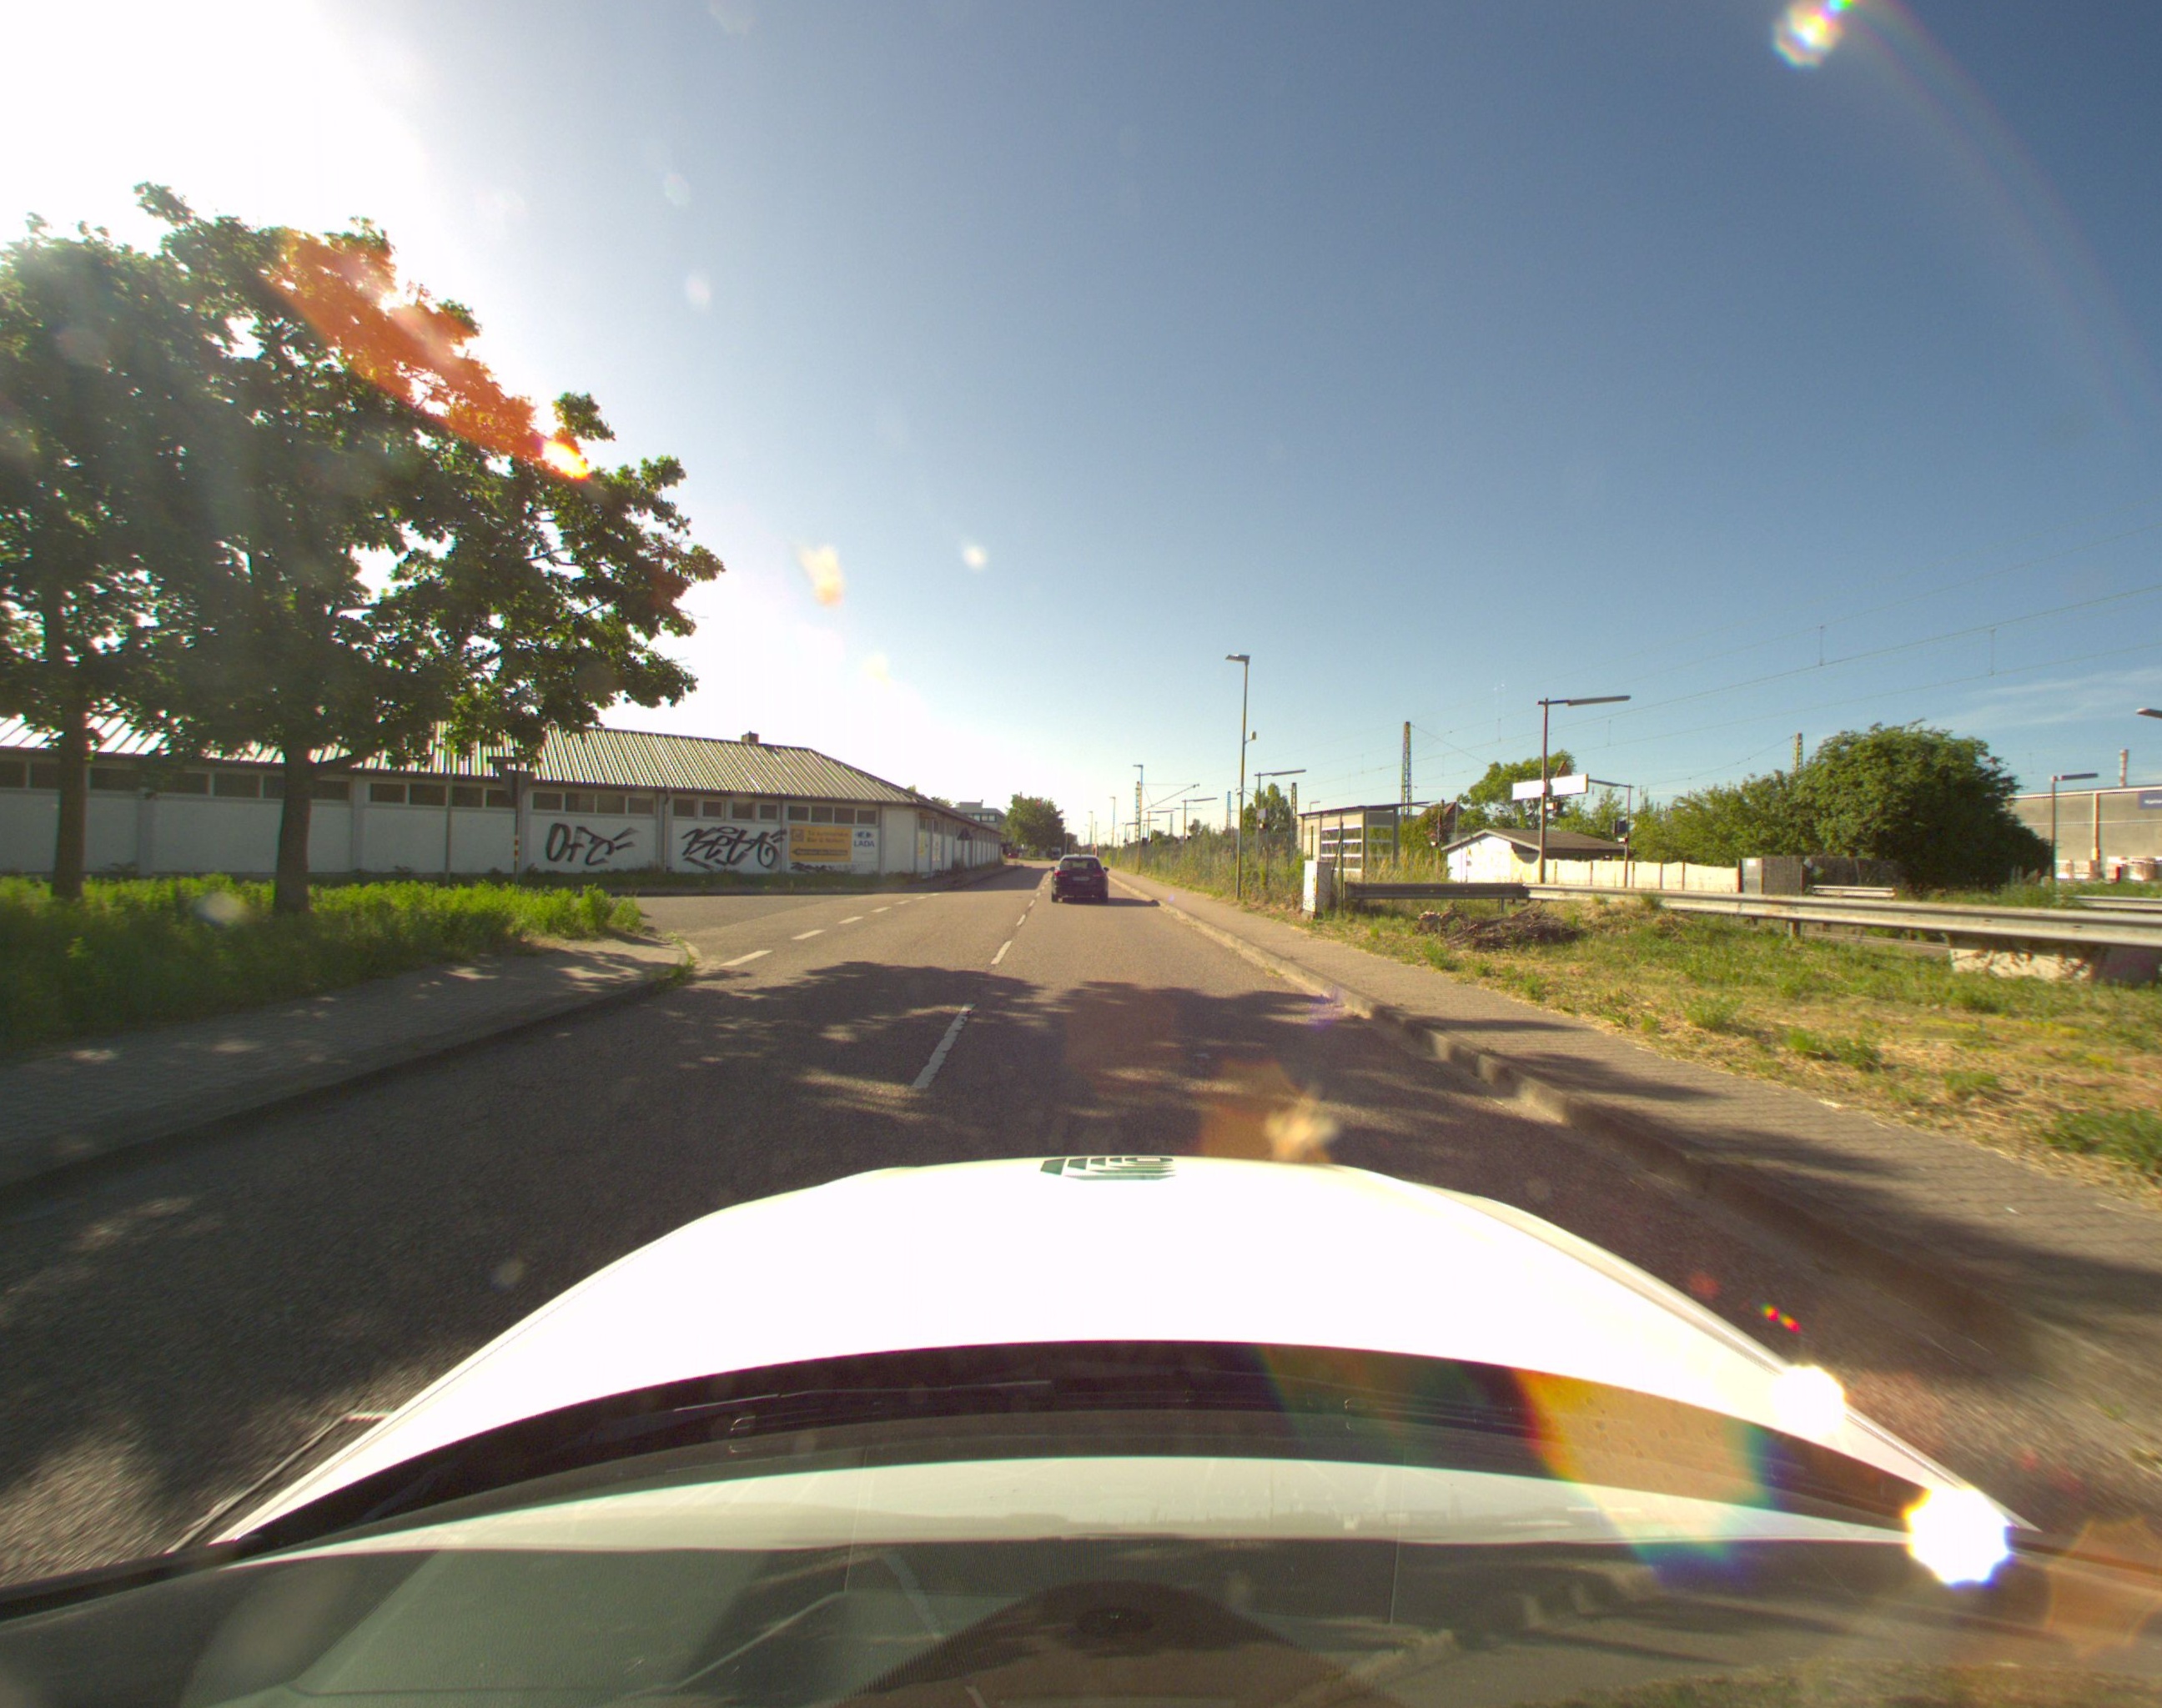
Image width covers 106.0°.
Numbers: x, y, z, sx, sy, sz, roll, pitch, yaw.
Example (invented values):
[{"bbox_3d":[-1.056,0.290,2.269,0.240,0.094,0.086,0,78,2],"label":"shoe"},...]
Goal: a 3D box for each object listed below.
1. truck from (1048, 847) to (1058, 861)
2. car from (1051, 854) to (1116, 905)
[{"bbox_3d":[-7.925,-0.035,229.117,2.607,3.885,13.516,2,0,-3],"label":"truck"},{"bbox_3d":[0.015,0.774,26.445,1.937,1.489,4.562,0,0,-2],"label":"car"}]
